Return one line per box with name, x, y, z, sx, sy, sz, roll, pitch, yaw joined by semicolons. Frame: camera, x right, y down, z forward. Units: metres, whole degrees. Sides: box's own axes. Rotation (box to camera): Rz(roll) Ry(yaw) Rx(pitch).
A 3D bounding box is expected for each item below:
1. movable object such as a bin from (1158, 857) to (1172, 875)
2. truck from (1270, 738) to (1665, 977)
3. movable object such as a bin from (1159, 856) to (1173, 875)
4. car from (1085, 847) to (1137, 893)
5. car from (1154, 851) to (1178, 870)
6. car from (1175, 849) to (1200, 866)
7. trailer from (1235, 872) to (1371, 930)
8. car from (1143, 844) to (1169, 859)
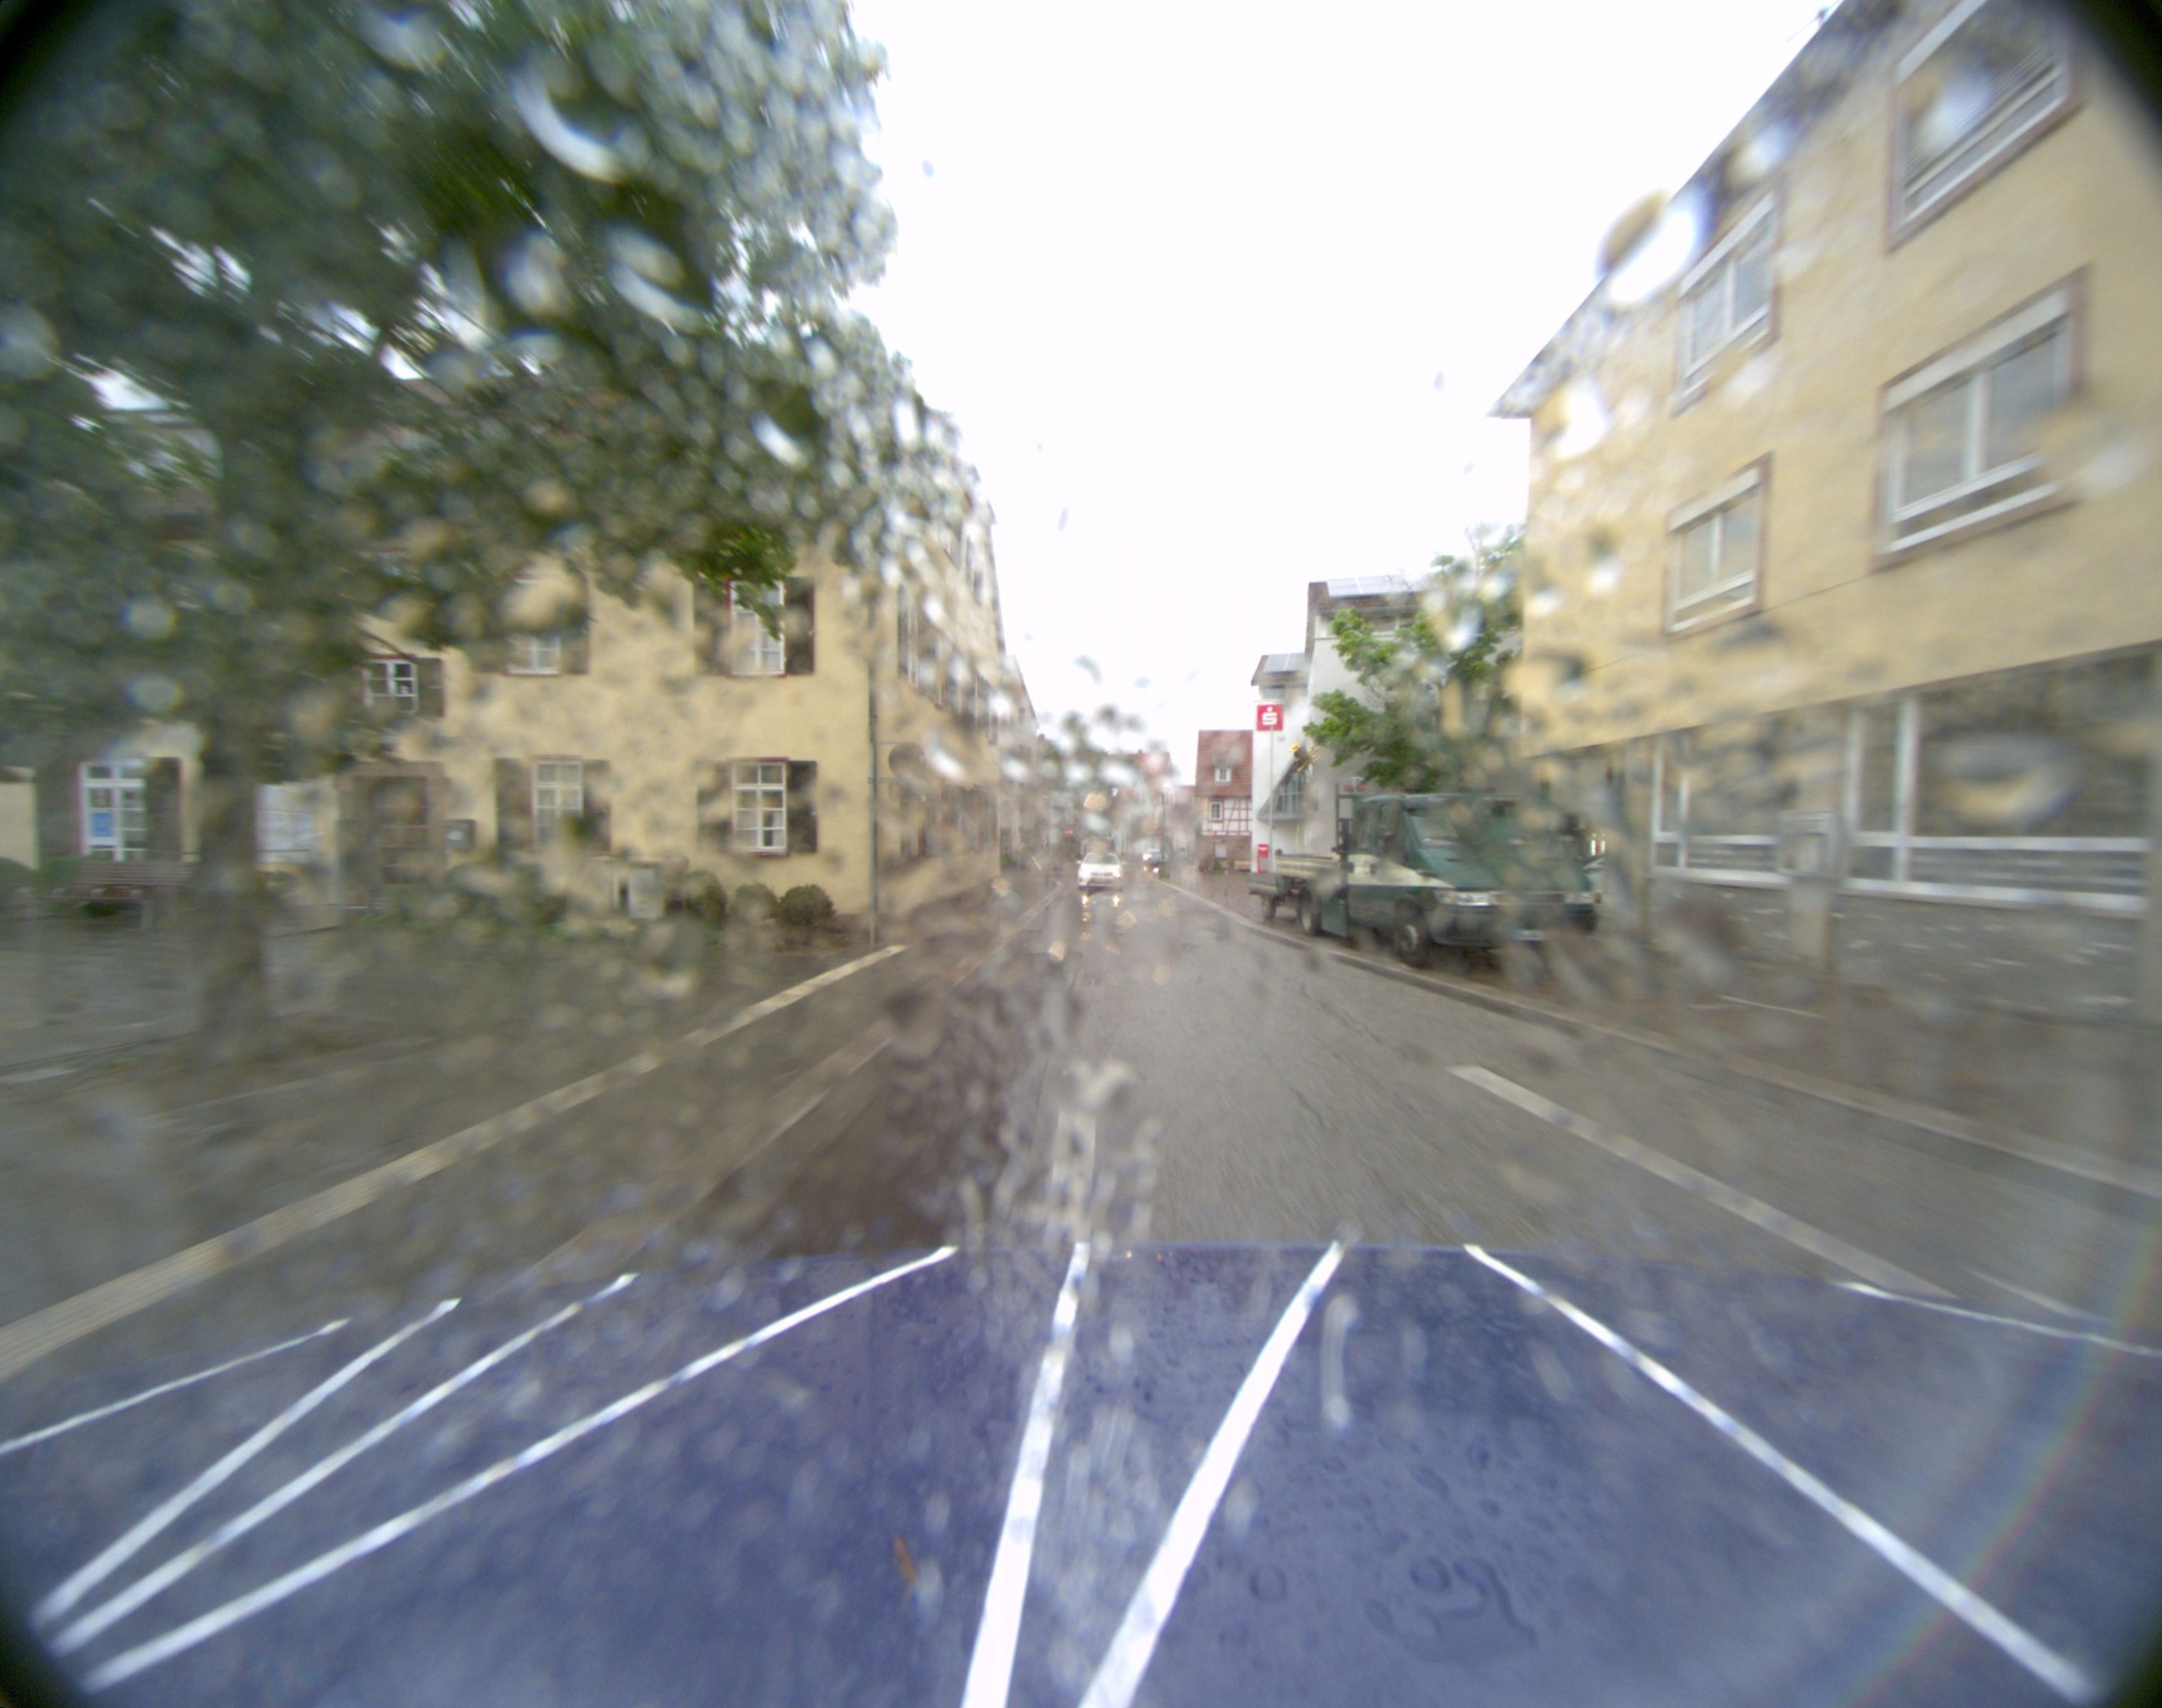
movable object such as a bin;4.883;0.695;44.132;0.697;1.045;0.645;2;2;3
truck;5.024;0.120;11.504;2.406;2.579;6.482;0;-1;-3
movable object such as a bin;4.845;0.665;43.359;0.697;1.071;0.645;-1;2;3
car;1.171;0.577;30.166;1.867;1.577;4.614;2;1;1
car;6.767;0.501;60.276;1.806;1.434;4.001;0;1;6
car;10.080;0.314;71.833;1.804;1.434;4.004;0;1;16
trailer;4.619;0.942;16.247;1.857;1.118;3.019;0;-1;-4
car;7.882;-0.251;79.589;1.865;1.452;4.005;2;1;17
